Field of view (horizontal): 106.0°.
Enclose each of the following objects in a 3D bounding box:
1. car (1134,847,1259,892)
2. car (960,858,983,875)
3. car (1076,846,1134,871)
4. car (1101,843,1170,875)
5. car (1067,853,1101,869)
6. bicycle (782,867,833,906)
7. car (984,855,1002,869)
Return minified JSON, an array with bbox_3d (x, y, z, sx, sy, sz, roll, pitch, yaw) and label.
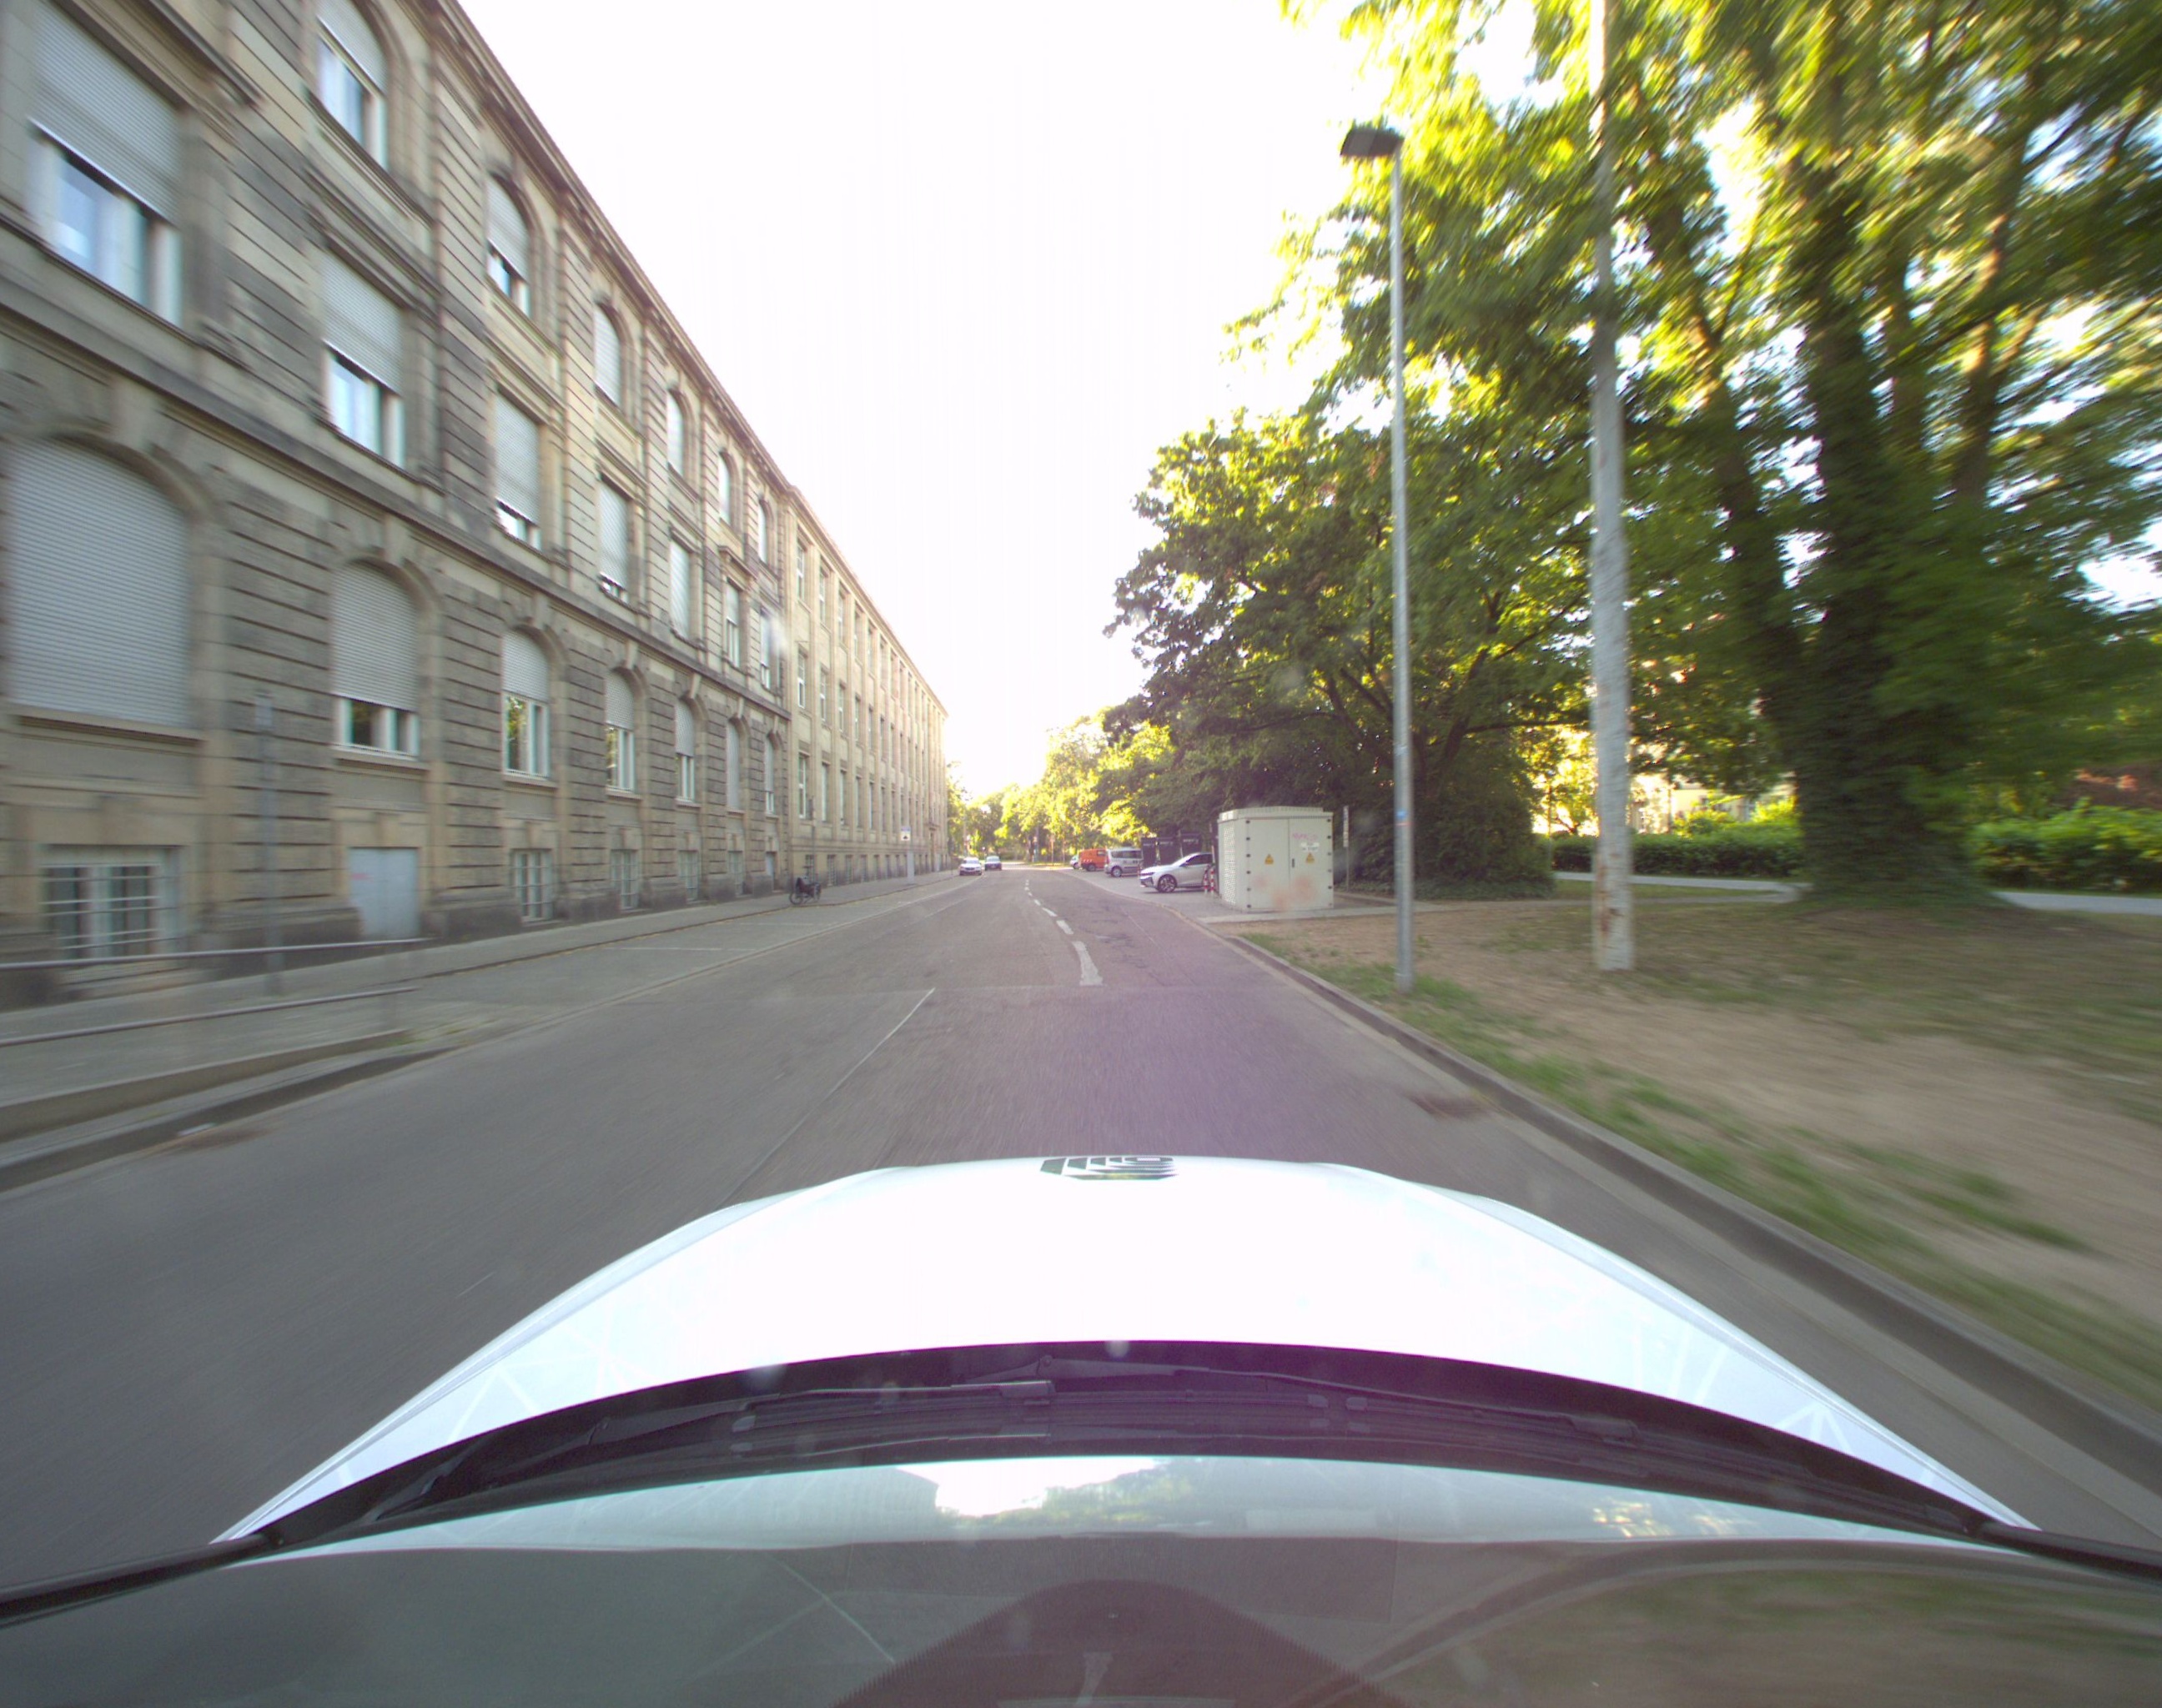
[{"bbox_3d":[4.379,0.575,31.147,4.432,1.469,1.780,-2,0,-4],"label":"car"},{"bbox_3d":[-9.188,1.009,68.419,1.725,1.397,4.364,-1,0,-6],"label":"car"},{"bbox_3d":[2.096,0.388,72.466,4.819,2.013,1.796,-3,0,-10],"label":"car"},{"bbox_3d":[3.525,0.313,53.301,4.218,1.859,1.998,-3,-1,-3],"label":"car"},{"bbox_3d":[0.276,0.731,82.936,3.144,1.503,1.535,-3,0,-10],"label":"car"},{"bbox_3d":[-8.394,0.980,25.095,0.849,1.101,1.982,1,0,1],"label":"bicycle"},{"bbox_3d":[-9.245,0.830,85.690,1.876,1.466,4.364,-1,0,-6],"label":"car"}]
